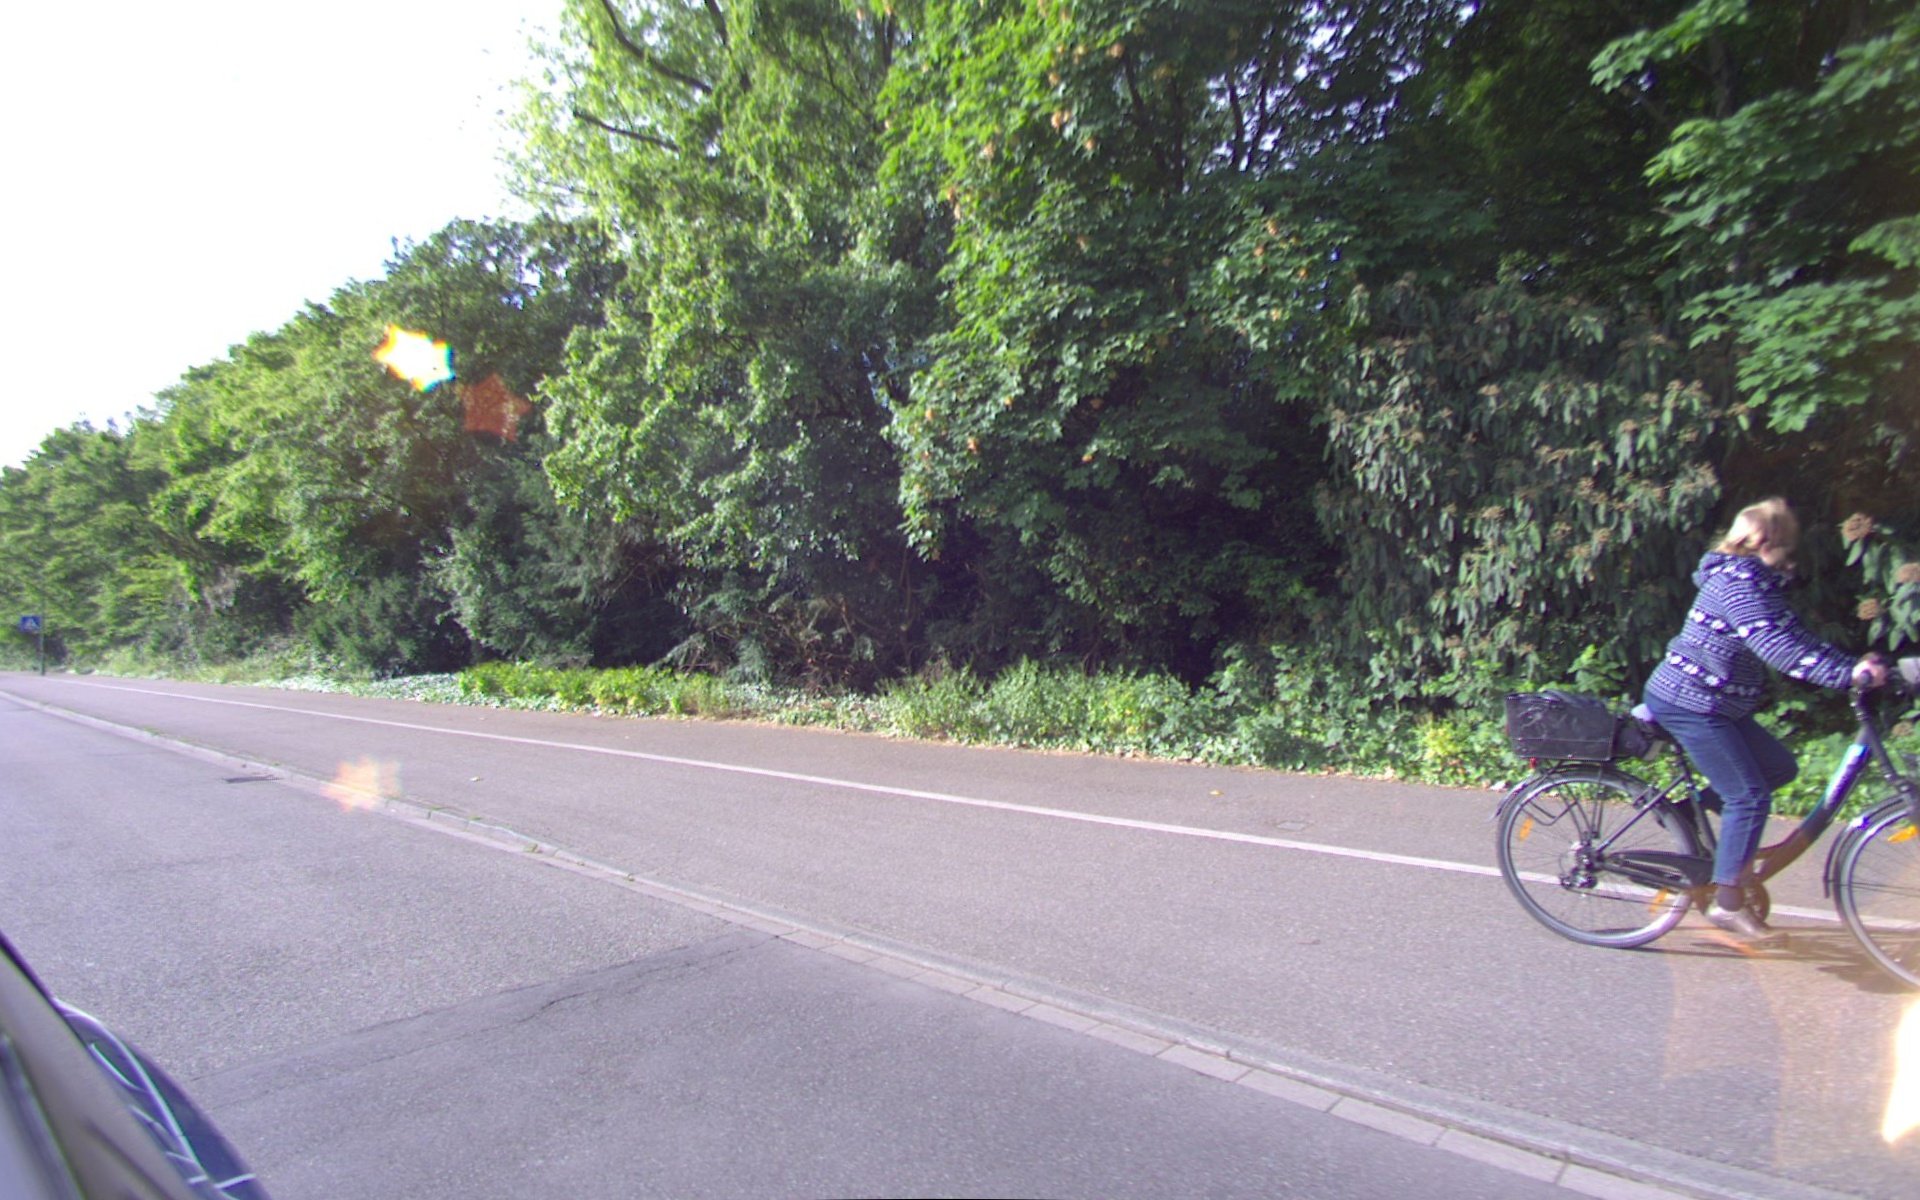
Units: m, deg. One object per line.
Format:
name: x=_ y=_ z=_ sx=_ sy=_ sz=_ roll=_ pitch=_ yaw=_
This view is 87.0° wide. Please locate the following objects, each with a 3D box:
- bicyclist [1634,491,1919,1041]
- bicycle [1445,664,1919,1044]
bicyclist: x=2.952 y=0.513 z=3.499 sx=0.883 sy=1.689 sz=0.602 roll=-3 pitch=0 yaw=43
bicycle: x=3.034 y=0.803 z=3.442 sx=2.348 sy=1.105 sz=0.655 roll=-5 pitch=-1 yaw=43
